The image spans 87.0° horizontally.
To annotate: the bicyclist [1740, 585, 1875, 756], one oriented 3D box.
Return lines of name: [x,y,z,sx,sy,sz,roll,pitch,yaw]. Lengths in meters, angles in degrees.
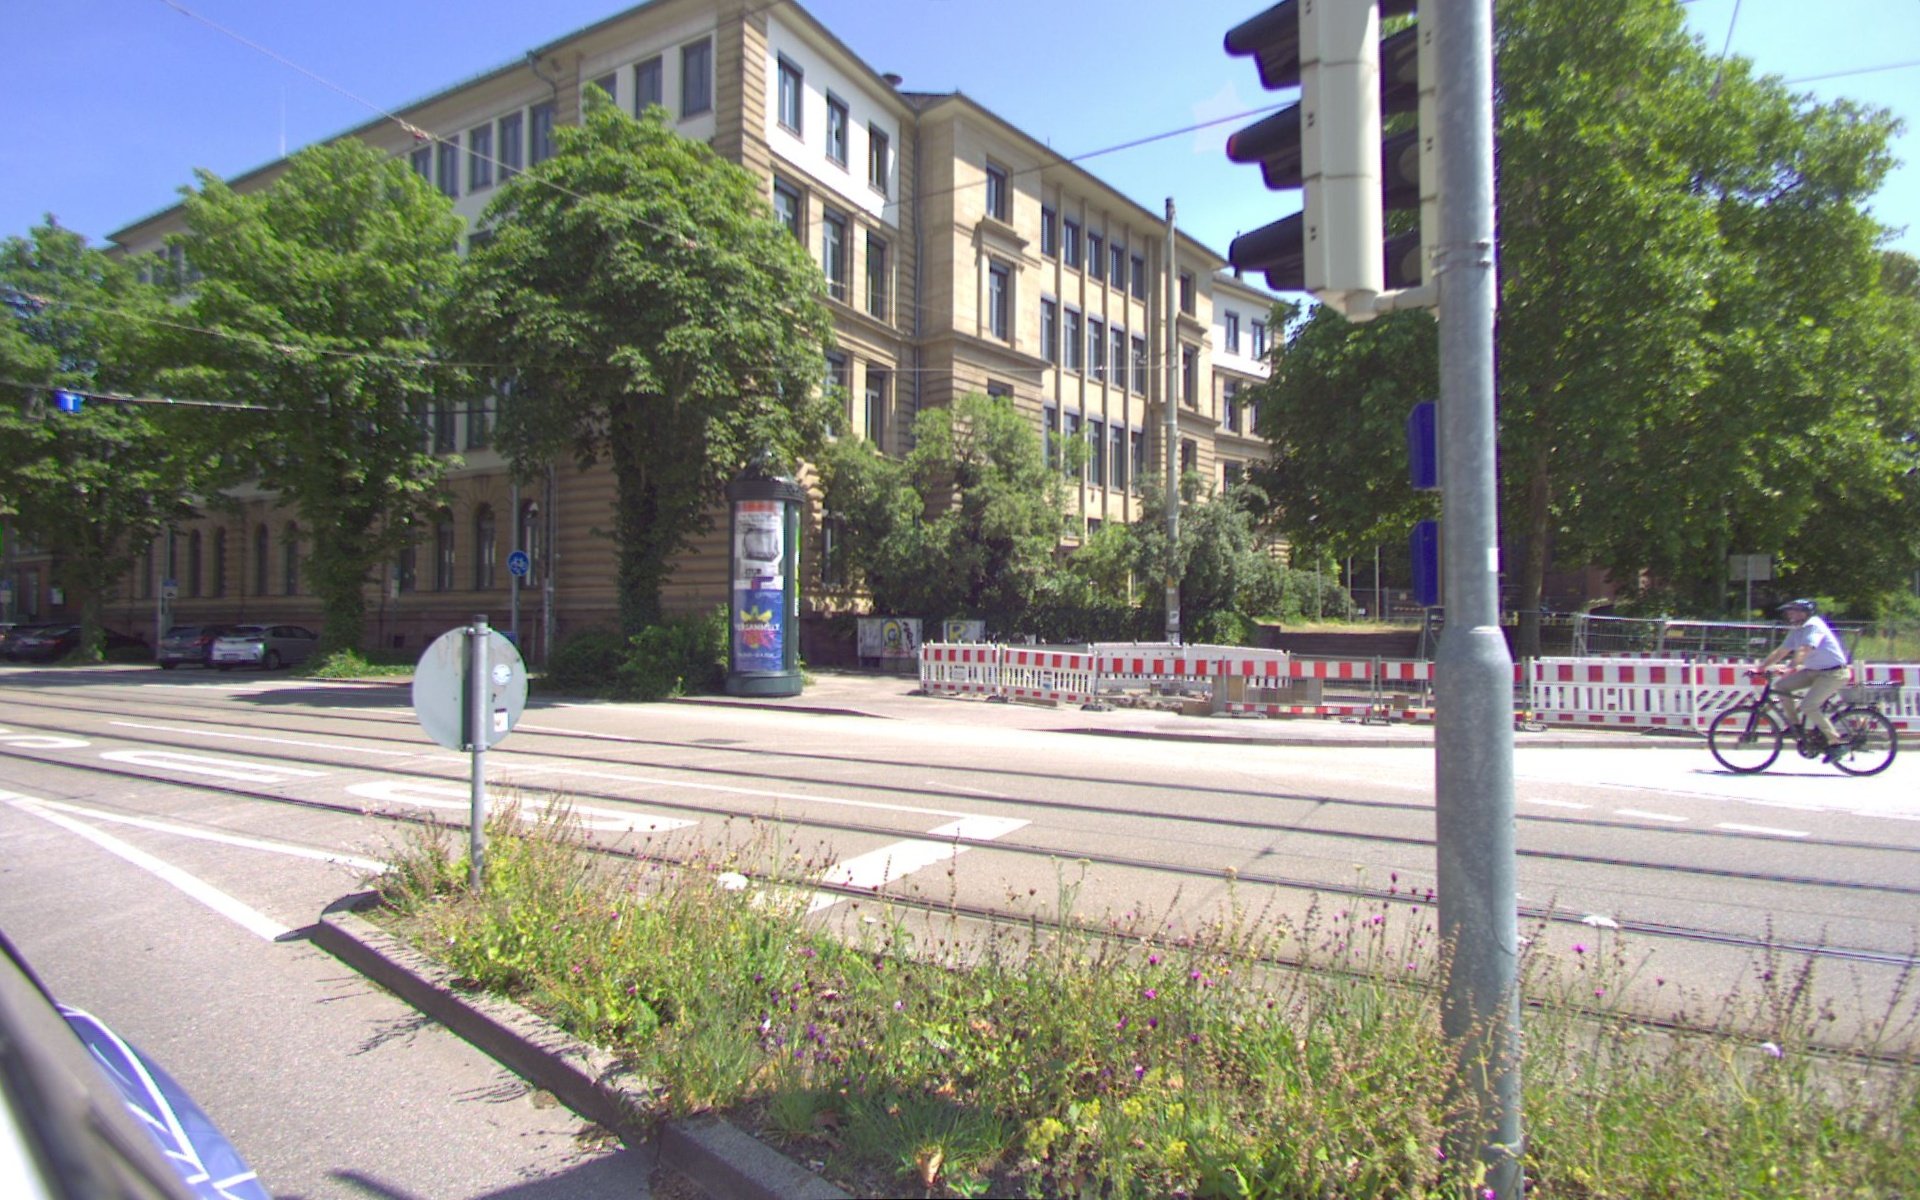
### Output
bicyclist: [8.938,0.728,10.714,0.763,1.723,0.819,-1,-2,14]

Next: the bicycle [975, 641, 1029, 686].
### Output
bicycle: [1.103,1.617,26.244,0.503,1.111,1.716,-1,-2,37]

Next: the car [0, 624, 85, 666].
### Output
car: [-38.872,1.830,41.861,1.646,1.596,4.321,0,0,0]

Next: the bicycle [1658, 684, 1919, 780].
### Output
bicycle: [8.848,1.375,10.712,2.348,0.921,0.502,-1,-2,15]

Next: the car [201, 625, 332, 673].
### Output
car: [-21.922,1.501,32.146,1.679,1.416,3.547,0,-1,1]

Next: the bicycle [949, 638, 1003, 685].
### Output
bicycle: [0.438,1.604,26.730,0.463,1.156,1.665,0,-1,40]

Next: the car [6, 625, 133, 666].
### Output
car: [-36.189,1.828,41.265,1.769,1.589,3.817,0,-2,0]

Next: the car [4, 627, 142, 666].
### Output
car: [-33.689,1.751,38.583,1.648,1.385,3.929,0,-2,4]

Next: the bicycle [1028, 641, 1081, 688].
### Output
bicycle: [2.375,1.591,25.296,0.503,1.111,1.716,-1,-2,37]

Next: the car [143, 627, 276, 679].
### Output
car: [-24.599,1.707,33.333,1.646,1.531,3.675,0,0,1]

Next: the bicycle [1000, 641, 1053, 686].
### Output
bicycle: [1.706,1.596,25.794,0.503,1.111,1.716,-1,-2,37]

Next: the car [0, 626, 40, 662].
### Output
car: [-41.835,1.890,43.374,1.648,1.527,3.348,0,-1,4]
